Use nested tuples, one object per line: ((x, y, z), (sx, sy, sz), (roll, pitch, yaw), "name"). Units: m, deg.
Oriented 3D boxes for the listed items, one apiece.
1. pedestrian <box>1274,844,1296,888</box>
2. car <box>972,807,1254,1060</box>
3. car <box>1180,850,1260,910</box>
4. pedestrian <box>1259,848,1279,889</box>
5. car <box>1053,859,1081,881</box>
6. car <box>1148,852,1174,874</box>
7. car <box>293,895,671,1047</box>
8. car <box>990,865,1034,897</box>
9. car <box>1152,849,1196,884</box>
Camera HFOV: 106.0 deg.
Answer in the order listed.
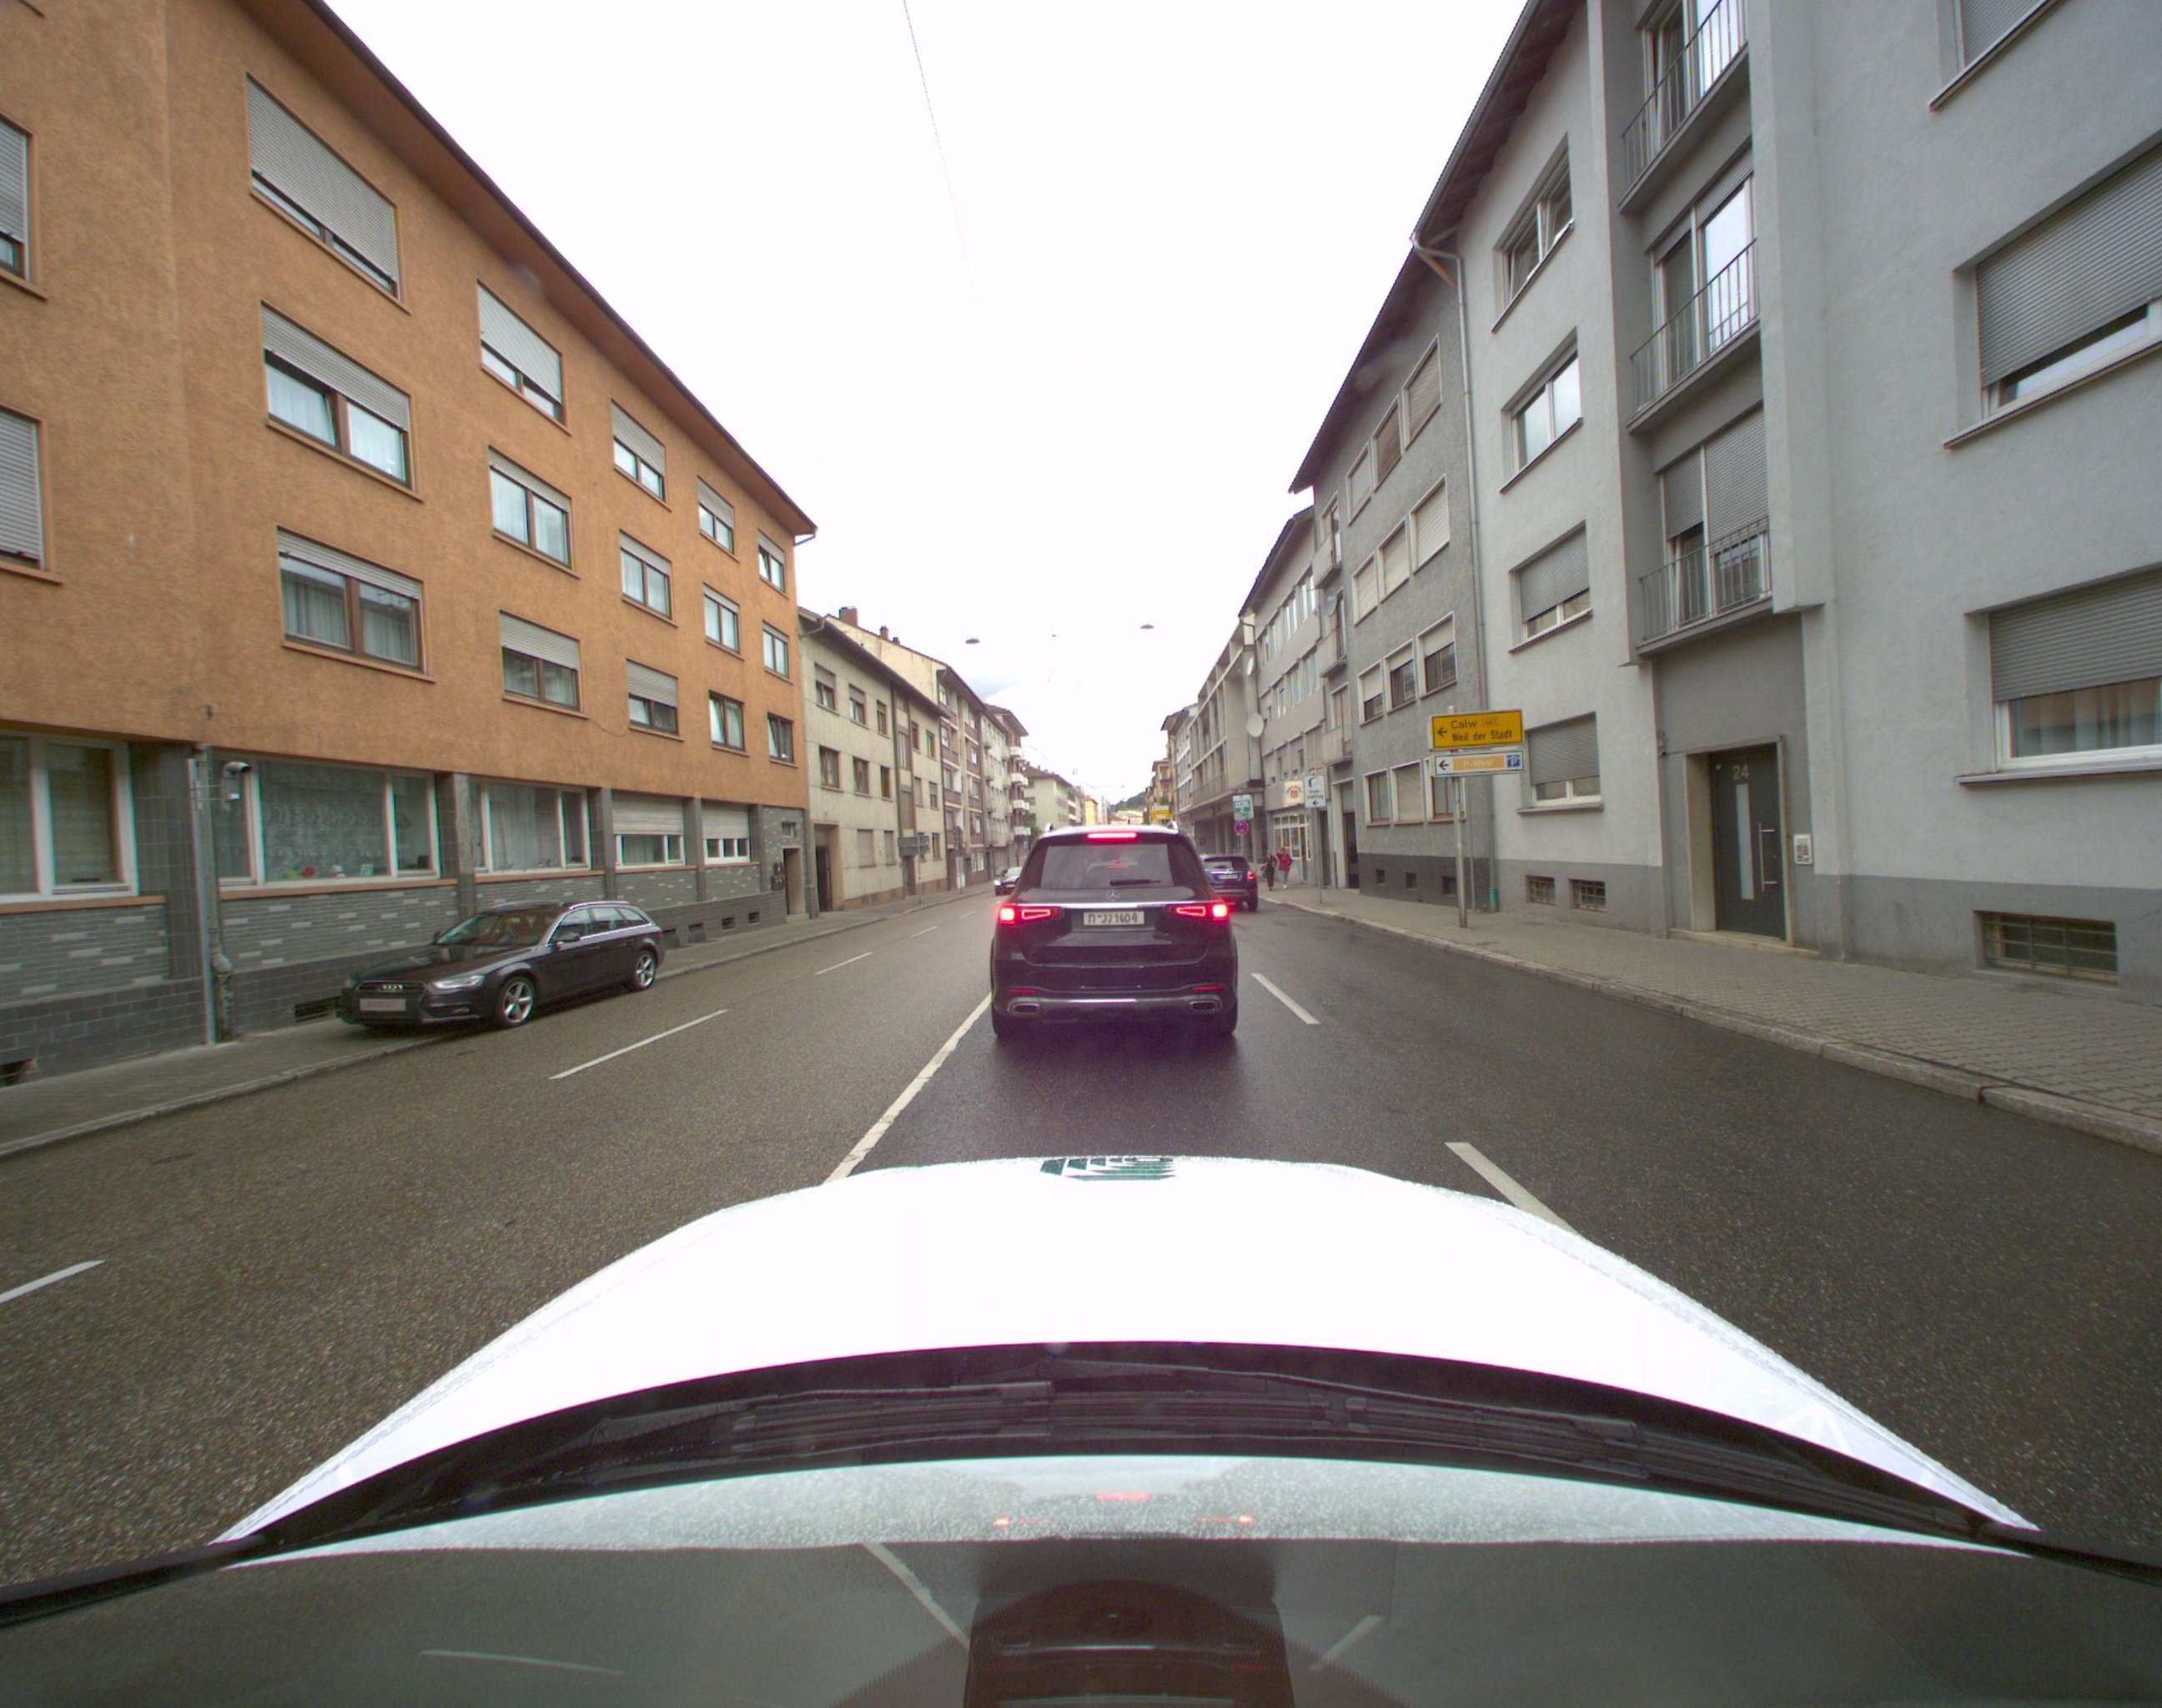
((7.740, 0.452, 30.927), (0.558, 1.578, 0.526), (-5, 0, 2), "pedestrian")
((0.274, 0.576, 7.850), (2.018, 1.806, 4.001), (0, 0, 1), "car")
((4.006, 0.721, 24.114), (1.760, 1.580, 4.002), (-2, 0, 2), "car")
((7.154, 0.561, 30.960), (0.504, 1.500, 0.562), (-5, 0, 1), "pedestrian")
((-0.968, 1.126, 58.921), (1.718, 1.390, 4.341), (-4, 0, 2), "car")
((6.118, 0.682, 62.363), (1.800, 1.606, 4.216), (-1, 0, 4), "car")
((-7.750, 1.408, 11.252), (1.789, 1.438, 4.528), (0, 0, 1), "car")
((-3.566, 1.378, 42.668), (1.761, 1.346, 3.889), (-6, 0, 1), "car")
((5.108, 0.674, 45.157), (1.934, 1.775, 4.746), (-1, 0, 0), "car")
